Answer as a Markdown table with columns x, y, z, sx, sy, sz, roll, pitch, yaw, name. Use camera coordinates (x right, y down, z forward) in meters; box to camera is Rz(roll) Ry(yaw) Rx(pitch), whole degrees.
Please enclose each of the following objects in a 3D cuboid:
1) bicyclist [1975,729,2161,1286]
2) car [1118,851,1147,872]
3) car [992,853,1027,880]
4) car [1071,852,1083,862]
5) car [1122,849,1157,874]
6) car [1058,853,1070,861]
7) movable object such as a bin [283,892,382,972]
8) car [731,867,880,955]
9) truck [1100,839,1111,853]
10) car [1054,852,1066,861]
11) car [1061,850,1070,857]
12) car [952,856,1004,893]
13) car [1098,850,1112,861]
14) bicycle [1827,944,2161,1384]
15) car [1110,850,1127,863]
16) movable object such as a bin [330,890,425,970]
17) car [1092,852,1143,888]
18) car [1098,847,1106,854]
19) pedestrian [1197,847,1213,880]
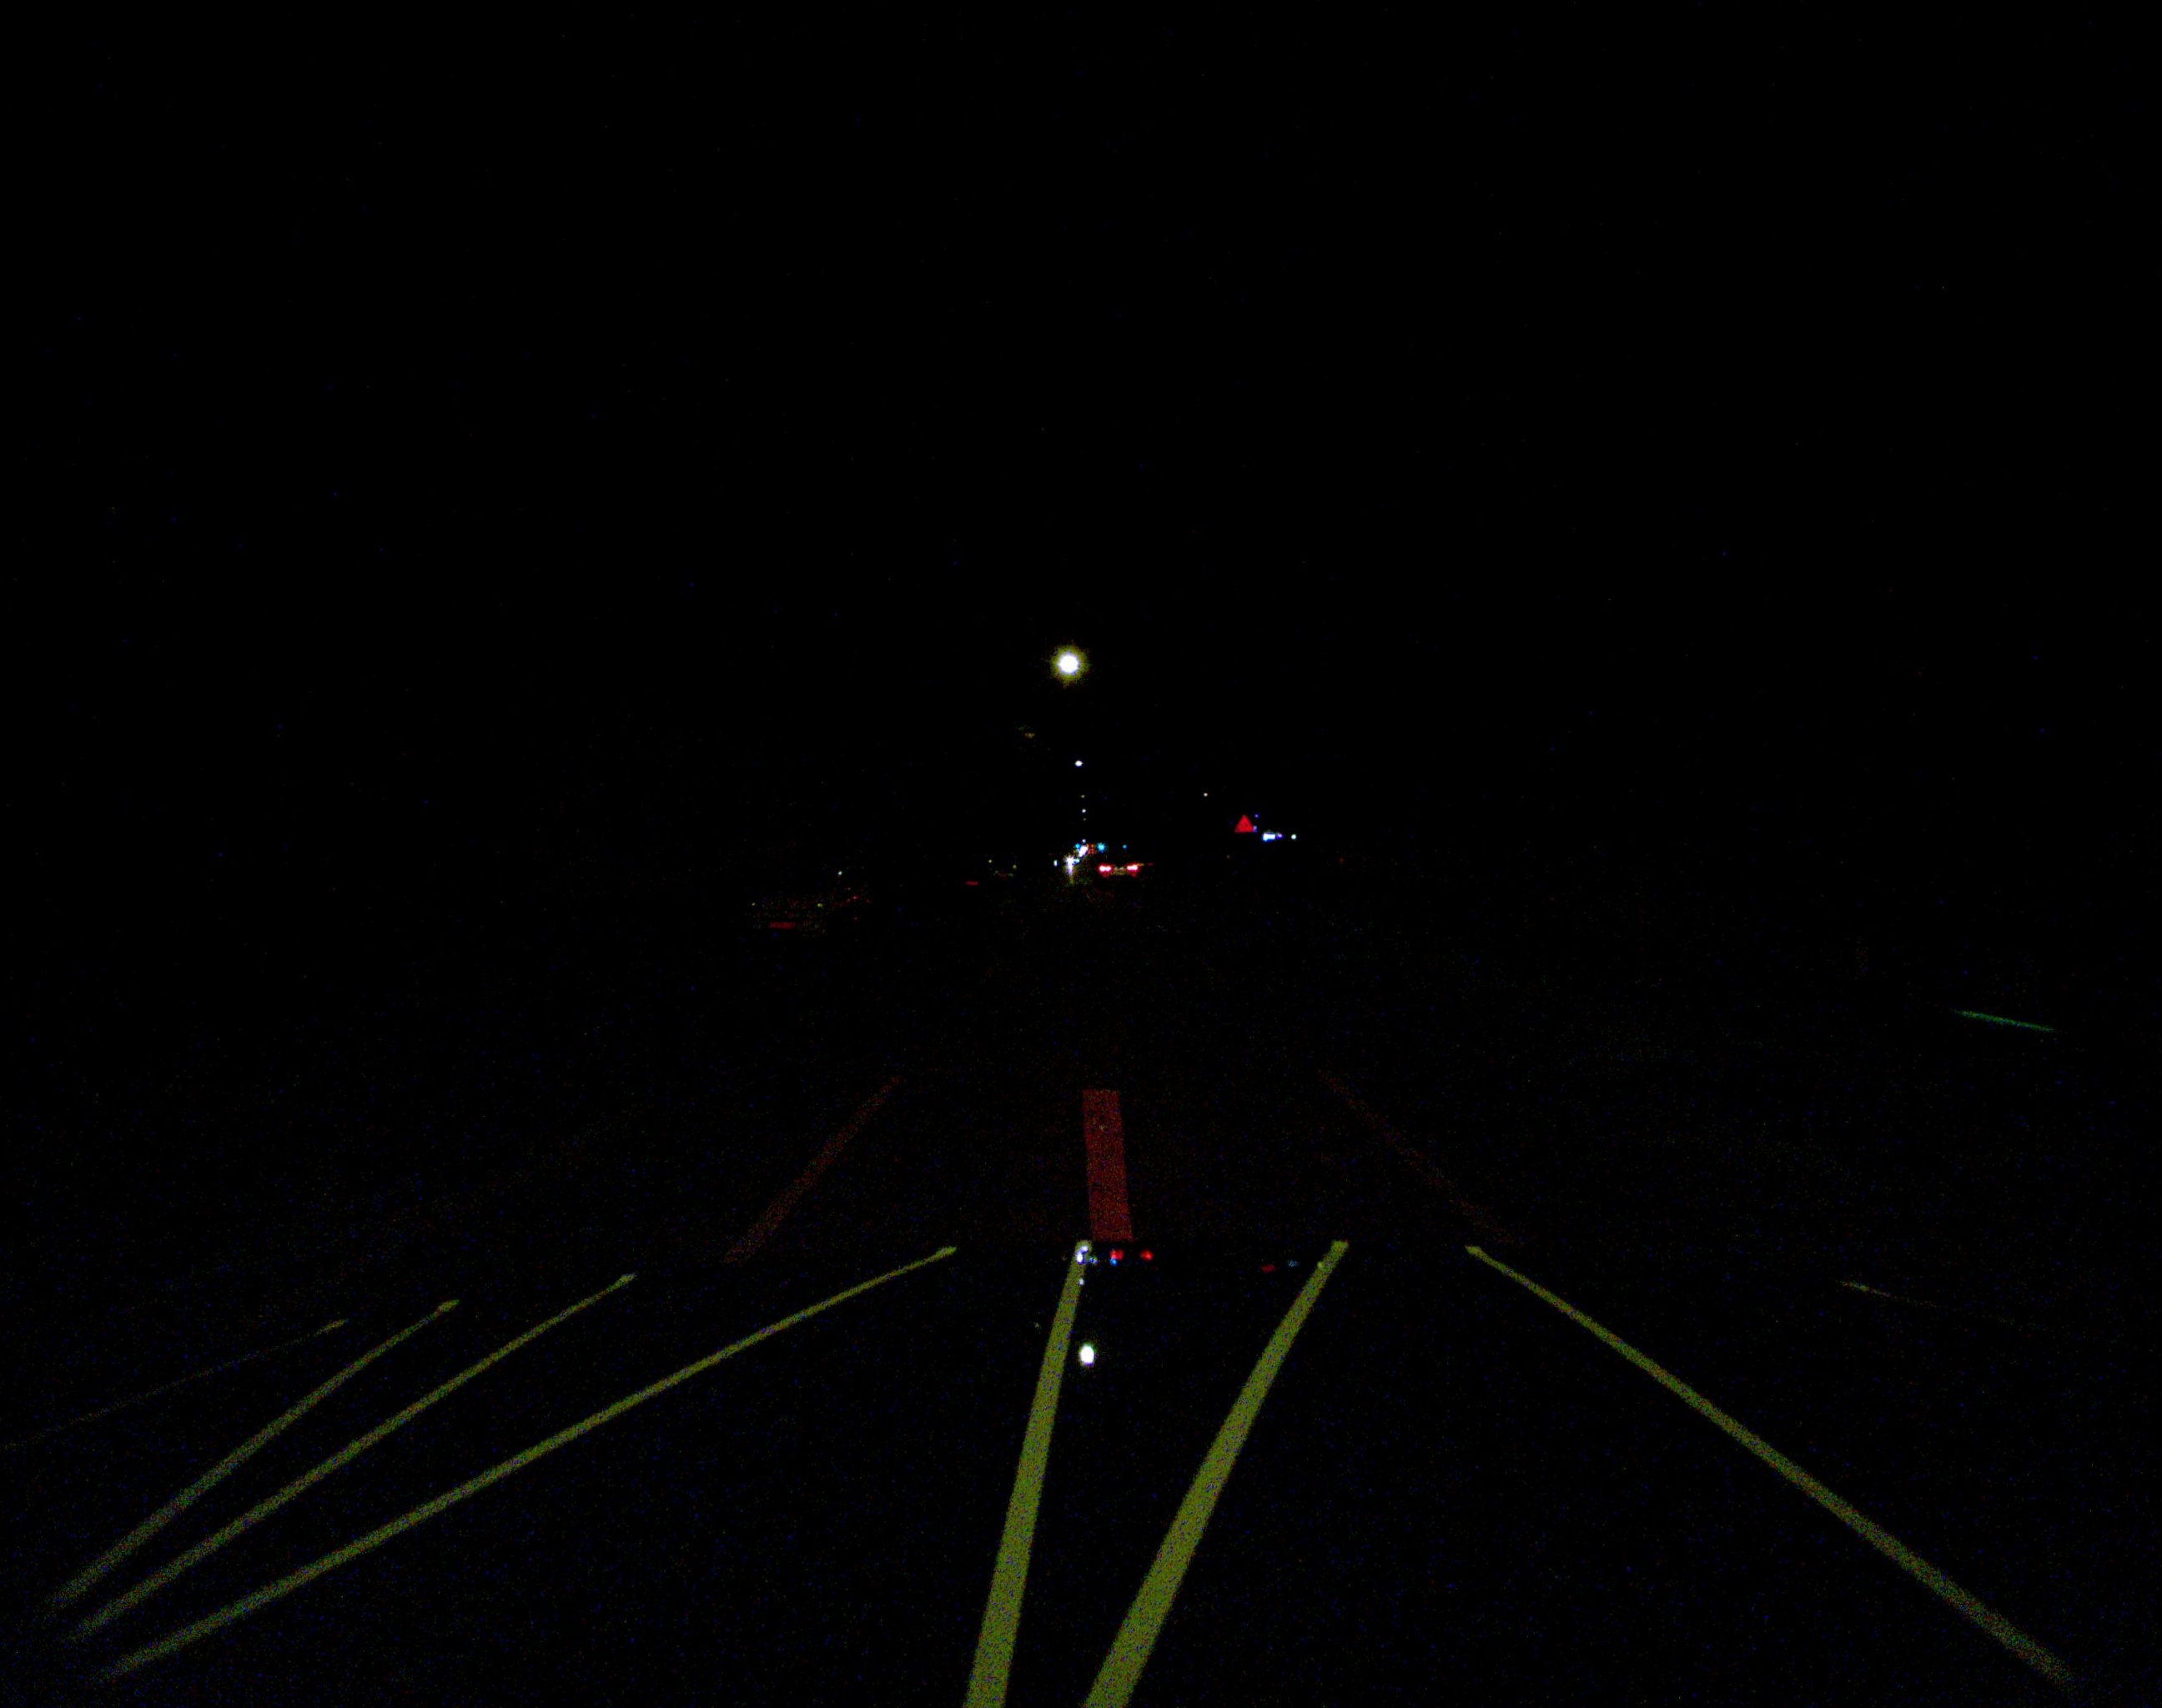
| x | y | z | sx | sy | sz | roll | pitch | yaw | name |
| --- | --- | --- | --- | --- | --- | --- | --- | --- | --- |
| 3.483 | 0.440 | 2.216 | 0.692 | 1.628 | 0.896 | -2 | 1 | 1 | bicyclist |
| 3.892 | 0.557 | 57.840 | 1.864 | 1.458 | 3.896 | -4 | 0 | -1 | car |
| -4.452 | 0.768 | 47.805 | 1.742 | 1.588 | 4.359 | 0 | 0 | 1 | car |
| -0.641 | 0.451 | 127.354 | 1.874 | 1.635 | 3.999 | -2 | 0 | 0 | car |
| 3.970 | 0.514 | 52.325 | 1.864 | 1.524 | 4.587 | -4 | 0 | -1 | car |
| -2.984 | 0.565 | 134.795 | 1.874 | 1.407 | 3.999 | -2 | 0 | 0 | car |
| -10.683 | 1.090 | 10.863 | 0.609 | 1.042 | 0.755 | -2 | 1 | 1 | movable object such as a bin |
| -5.334 | 1.028 | 15.197 | 1.672 | 1.476 | 3.603 | 0 | 0 | 0 | car |
| 4.965 | -1.629 | 155.503 | 2.084 | 2.562 | 6.873 | -2 | 0 | 1 | truck |
| -3.582 | 0.389 | 129.263 | 1.874 | 1.407 | 3.999 | -2 | 0 | 0 | car |
| -3.306 | -0.154 | 162.250 | 1.874 | 1.407 | 3.999 | -2 | 0 | 0 | car |
| -4.568 | 0.869 | 34.283 | 1.865 | 1.544 | 4.044 | 0 | 0 | -1 | car |
| 3.727 | 0.203 | 119.490 | 1.874 | 1.635 | 3.999 | -2 | 0 | -3 | car |
| 3.501 | 0.973 | 2.240 | 0.698 | 1.142 | 1.950 | -2 | 1 | 1 | bicycle |
| 4.966 | 0.324 | 100.864 | 1.874 | 1.635 | 3.999 | -2 | 0 | -3 | car |
| -10.043 | 1.071 | 10.873 | 0.609 | 1.042 | 0.755 | -2 | 1 | 1 | movable object such as a bin |
| 1.645 | 0.704 | 35.699 | 1.862 | 1.525 | 4.026 | -2 | 0 | -4 | car |
| 4.998 | -0.764 | 180.309 | 1.873 | 1.551 | 4.353 | -2 | 0 | 1 | car |
| 6.533 | 0.487 | 40.064 | 0.670 | 1.716 | 0.866 | -2 | 1 | -2 | pedestrian |
